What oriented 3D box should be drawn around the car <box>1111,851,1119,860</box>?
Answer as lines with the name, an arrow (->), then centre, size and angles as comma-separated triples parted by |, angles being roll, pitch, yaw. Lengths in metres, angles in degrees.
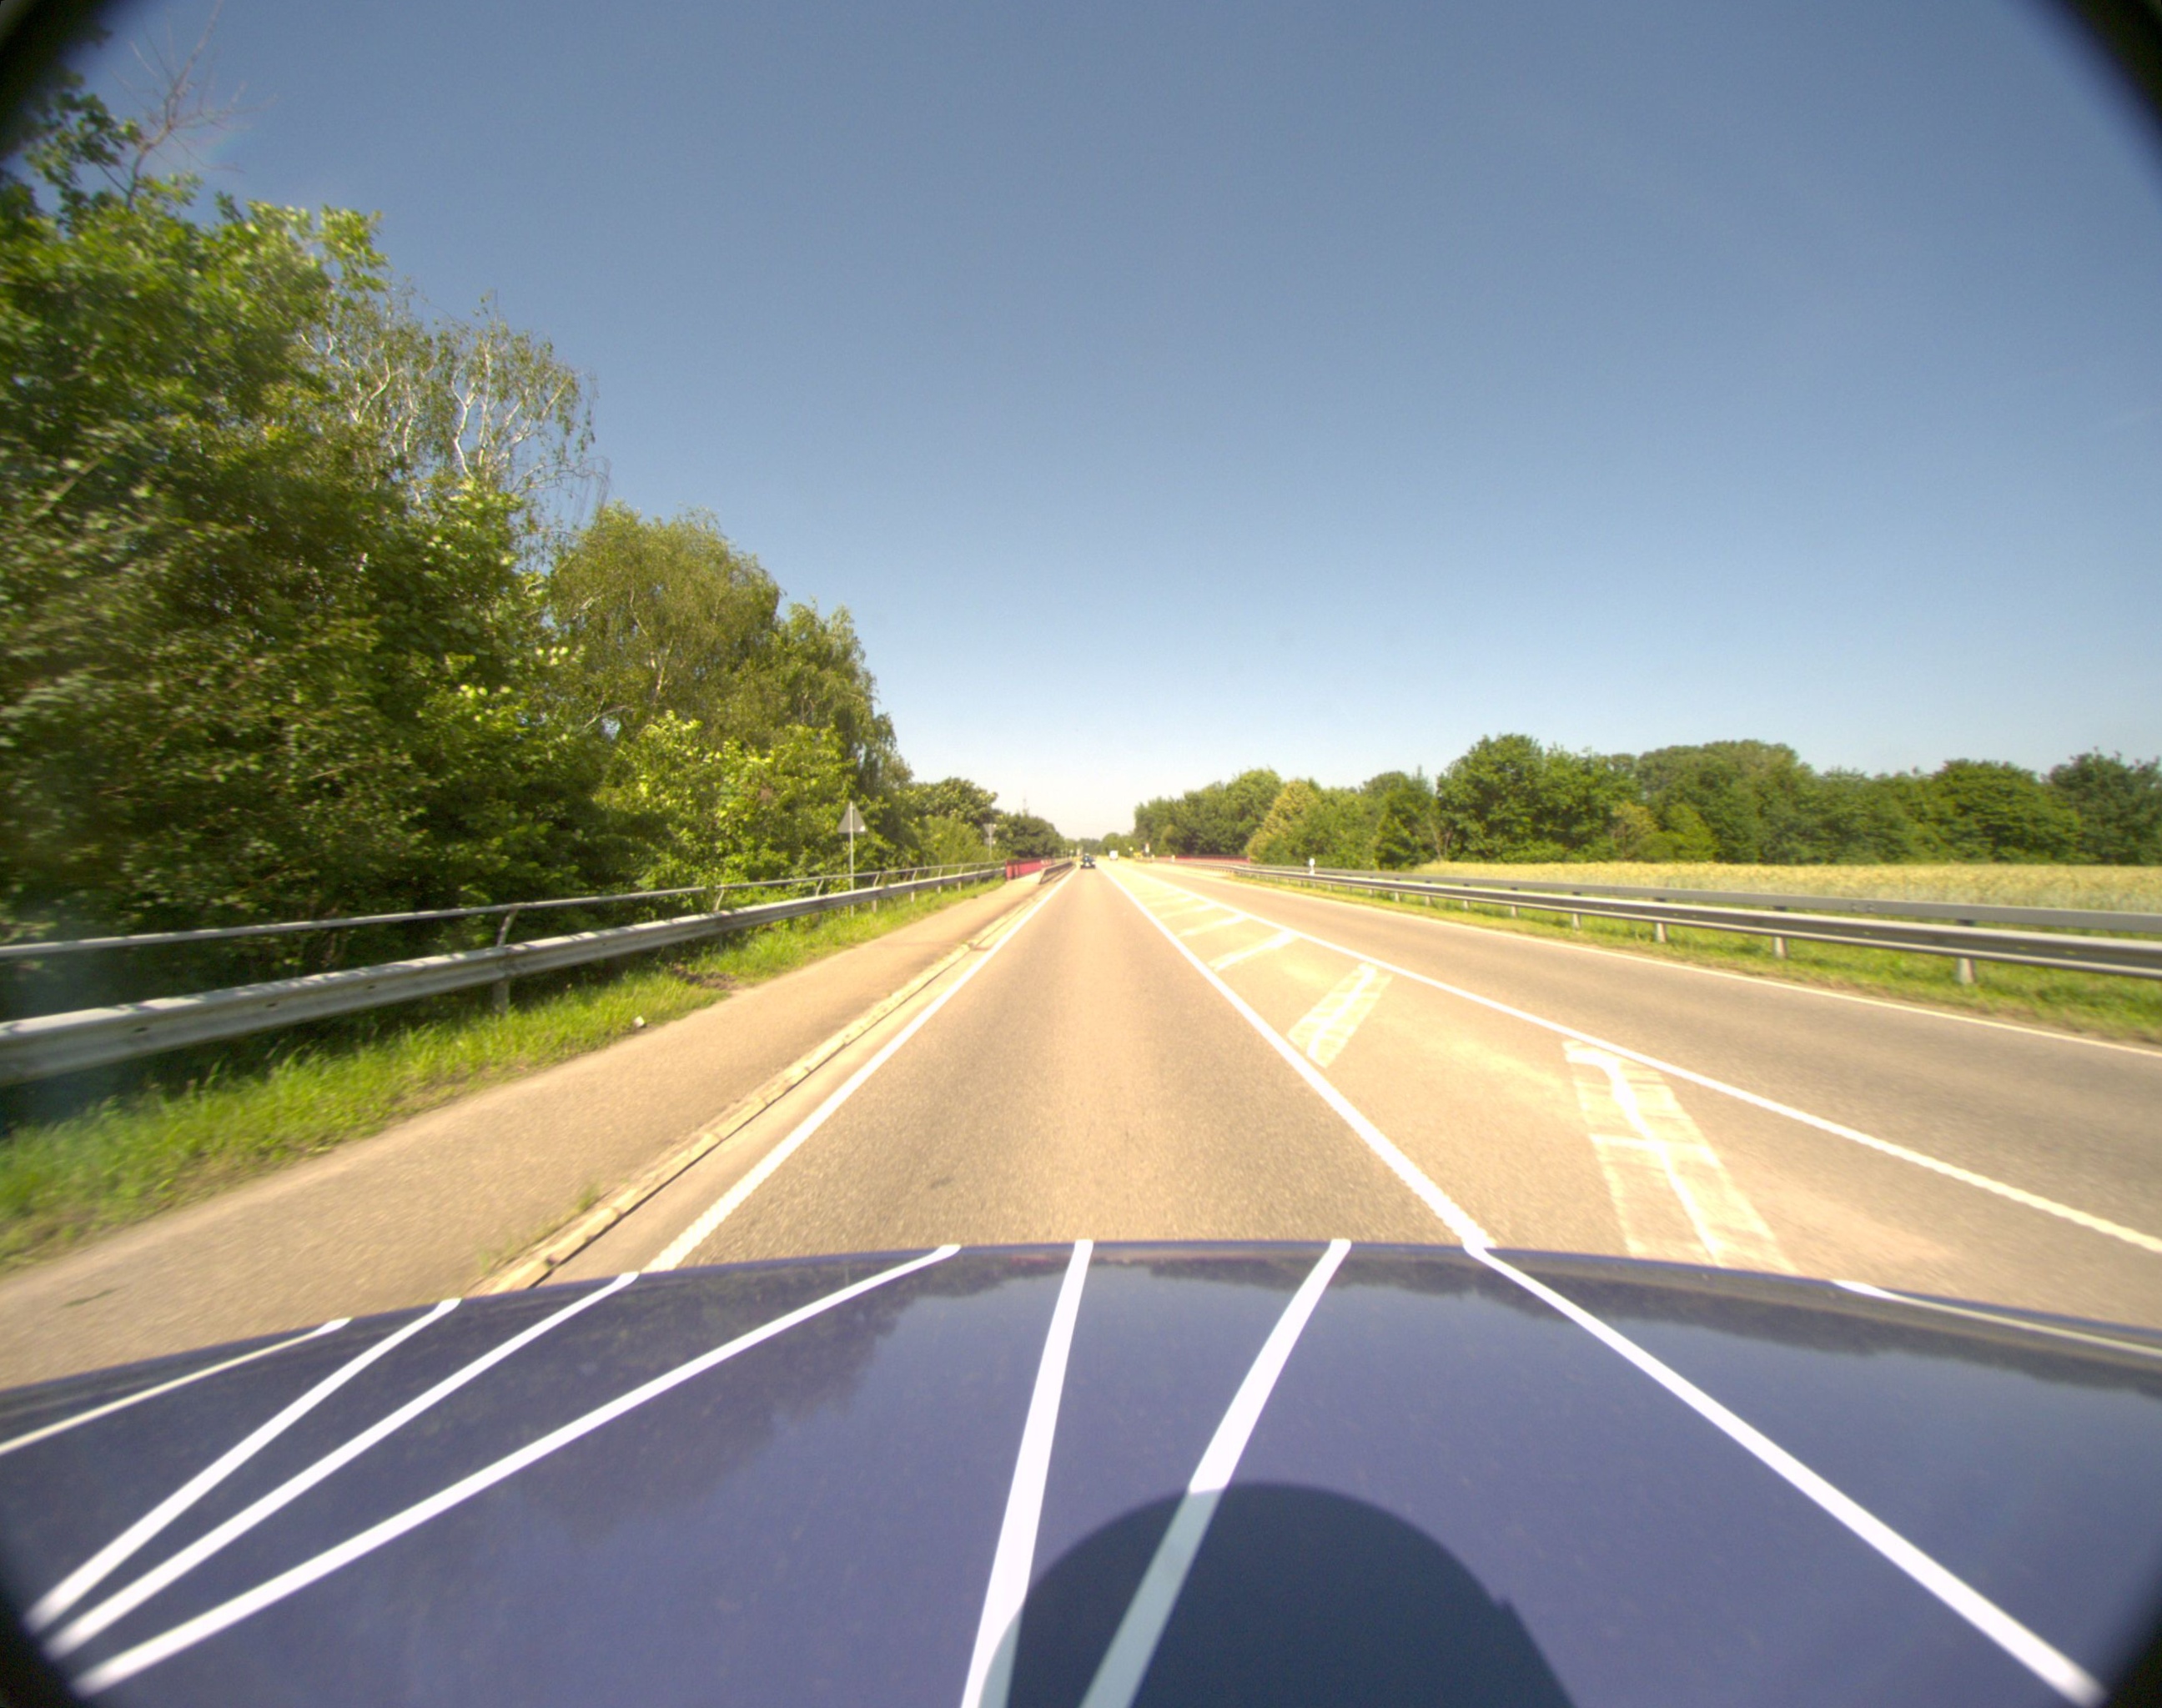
car -> 8.852, 0.274, 197.554 | 1.895, 2.214, 7.232 | -1, 0, 2

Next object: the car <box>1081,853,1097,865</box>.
car -> 0.996, 0.587, 89.215 | 1.806, 1.390, 4.180 | -1, 0, 2
